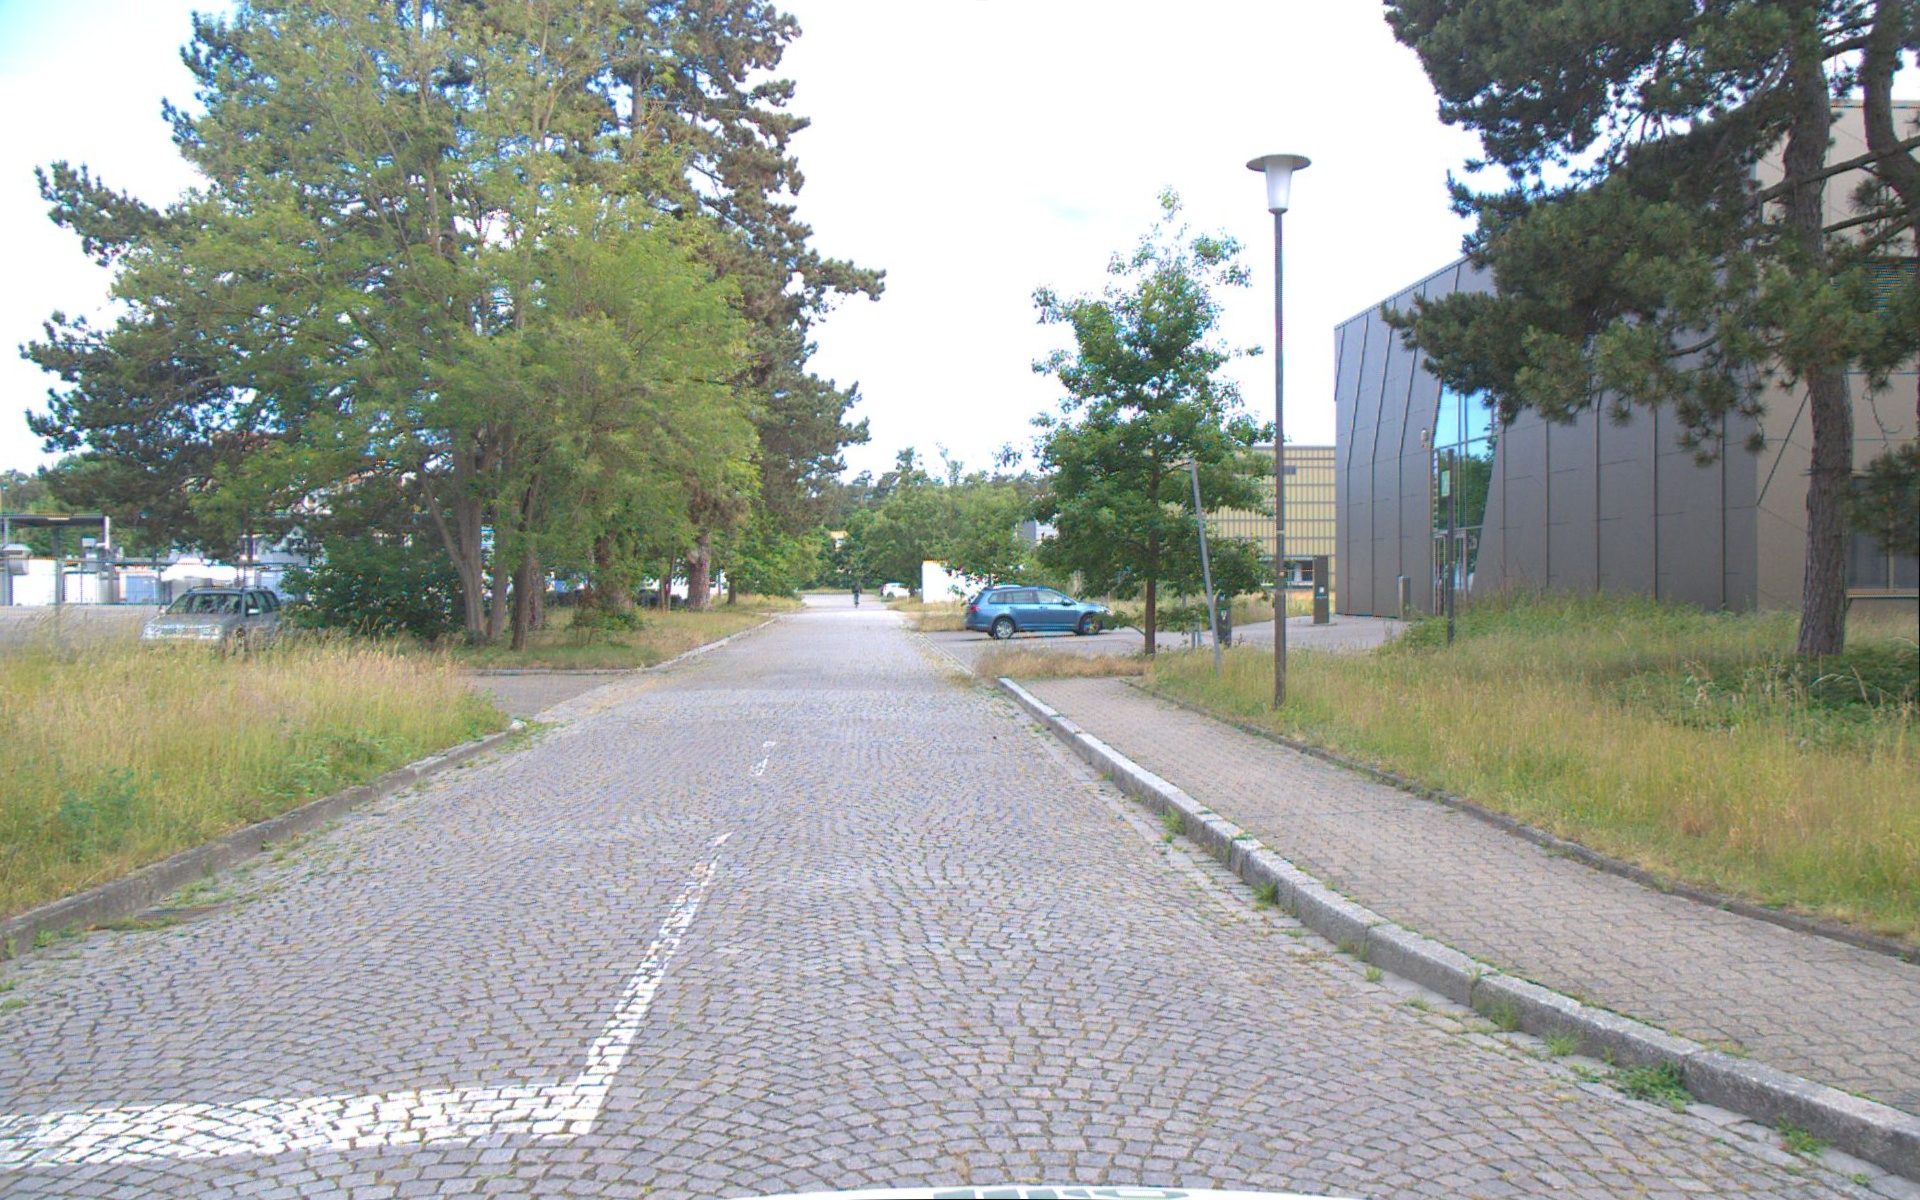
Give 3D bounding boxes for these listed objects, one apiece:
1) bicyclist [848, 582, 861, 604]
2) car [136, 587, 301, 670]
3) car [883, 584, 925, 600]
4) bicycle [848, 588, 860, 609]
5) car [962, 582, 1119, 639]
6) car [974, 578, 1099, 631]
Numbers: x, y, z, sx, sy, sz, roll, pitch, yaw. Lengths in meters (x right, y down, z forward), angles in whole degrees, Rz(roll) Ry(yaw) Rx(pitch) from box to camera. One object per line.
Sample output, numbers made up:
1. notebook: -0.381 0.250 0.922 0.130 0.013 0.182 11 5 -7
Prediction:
1. bicyclist: -7.389 -0.490 115.813 0.880 1.569 0.867 0 1 -5
2. car: -14.796 0.517 33.235 1.696 1.457 4.158 0 2 -5
3. car: -5.723 -0.799 168.715 4.235 1.576 1.999 0 0 -3
4. bicycle: -7.396 -0.118 115.806 0.807 1.400 2.041 0 2 -5
5. car: 2.351 0.291 49.258 4.395 1.488 1.932 -2 1 -6
6. car: 2.601 0.139 56.743 4.029 1.600 1.763 -2 1 -6
